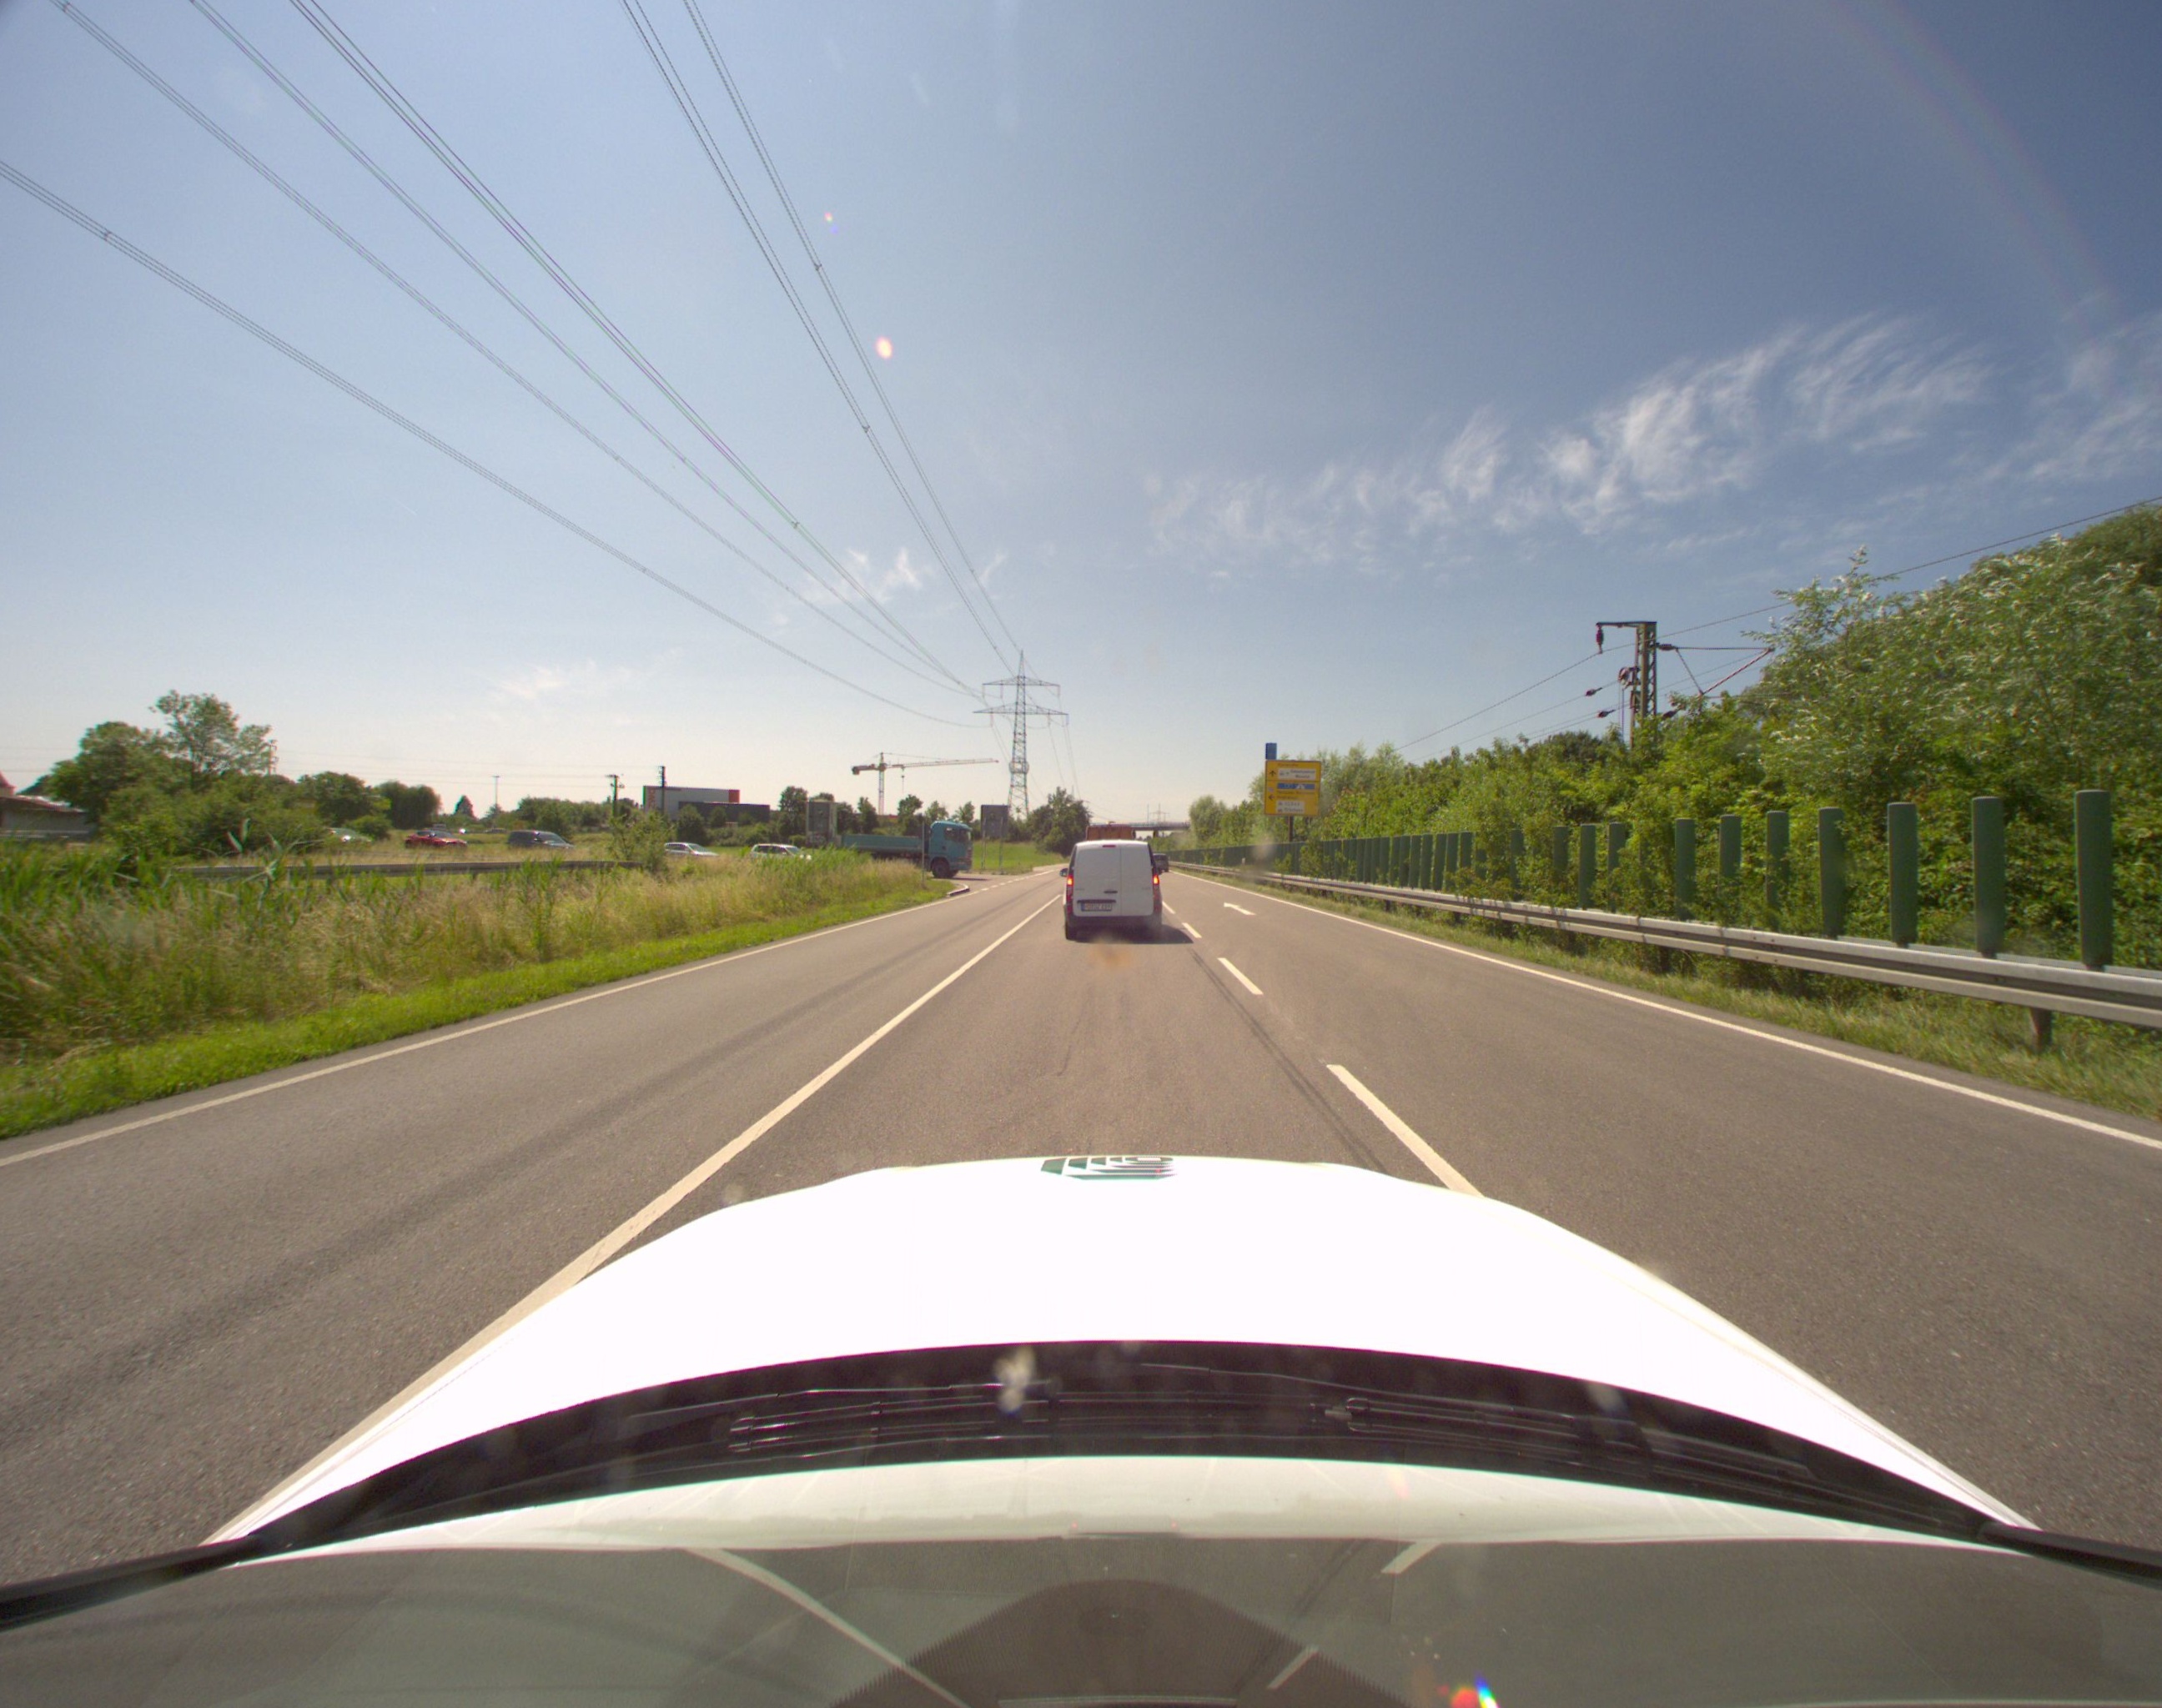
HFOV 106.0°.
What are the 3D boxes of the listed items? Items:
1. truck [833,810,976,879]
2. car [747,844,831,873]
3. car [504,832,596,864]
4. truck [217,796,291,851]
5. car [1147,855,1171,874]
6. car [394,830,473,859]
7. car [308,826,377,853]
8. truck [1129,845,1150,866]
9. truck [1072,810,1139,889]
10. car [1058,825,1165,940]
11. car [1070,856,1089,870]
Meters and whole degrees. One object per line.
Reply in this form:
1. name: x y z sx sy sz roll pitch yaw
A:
1. truck: -10.549 -0.569 49.123 7.868 3.734 2.501 2 0 4
2. car: -17.805 0.243 49.722 4.506 1.612 1.977 1 0 16
3. car: -34.468 -0.405 52.920 4.905 1.867 2.095 2 1 10
4. truck: -77.004 -2.693 75.741 13.071 4.646 3.713 1 0 40
5. car: 6.656 0.868 69.879 1.841 1.574 4.003 -1 0 3
6. car: -44.022 -0.672 55.404 4.434 1.849 1.924 1 0 16
7. car: -53.509 -1.015 59.013 3.959 1.901 1.665 0 0 13
8. truck: 7.582 0.212 106.193 2.365 2.689 8.014 1 0 2
9. truck: 1.268 -0.244 39.101 2.809 3.288 9.708 0 1 3
10. car: 0.605 0.493 16.007 1.820 1.971 4.002 -1 0 2
11. car: -0.157 0.922 85.745 1.718 1.441 4.252 1 0 3
